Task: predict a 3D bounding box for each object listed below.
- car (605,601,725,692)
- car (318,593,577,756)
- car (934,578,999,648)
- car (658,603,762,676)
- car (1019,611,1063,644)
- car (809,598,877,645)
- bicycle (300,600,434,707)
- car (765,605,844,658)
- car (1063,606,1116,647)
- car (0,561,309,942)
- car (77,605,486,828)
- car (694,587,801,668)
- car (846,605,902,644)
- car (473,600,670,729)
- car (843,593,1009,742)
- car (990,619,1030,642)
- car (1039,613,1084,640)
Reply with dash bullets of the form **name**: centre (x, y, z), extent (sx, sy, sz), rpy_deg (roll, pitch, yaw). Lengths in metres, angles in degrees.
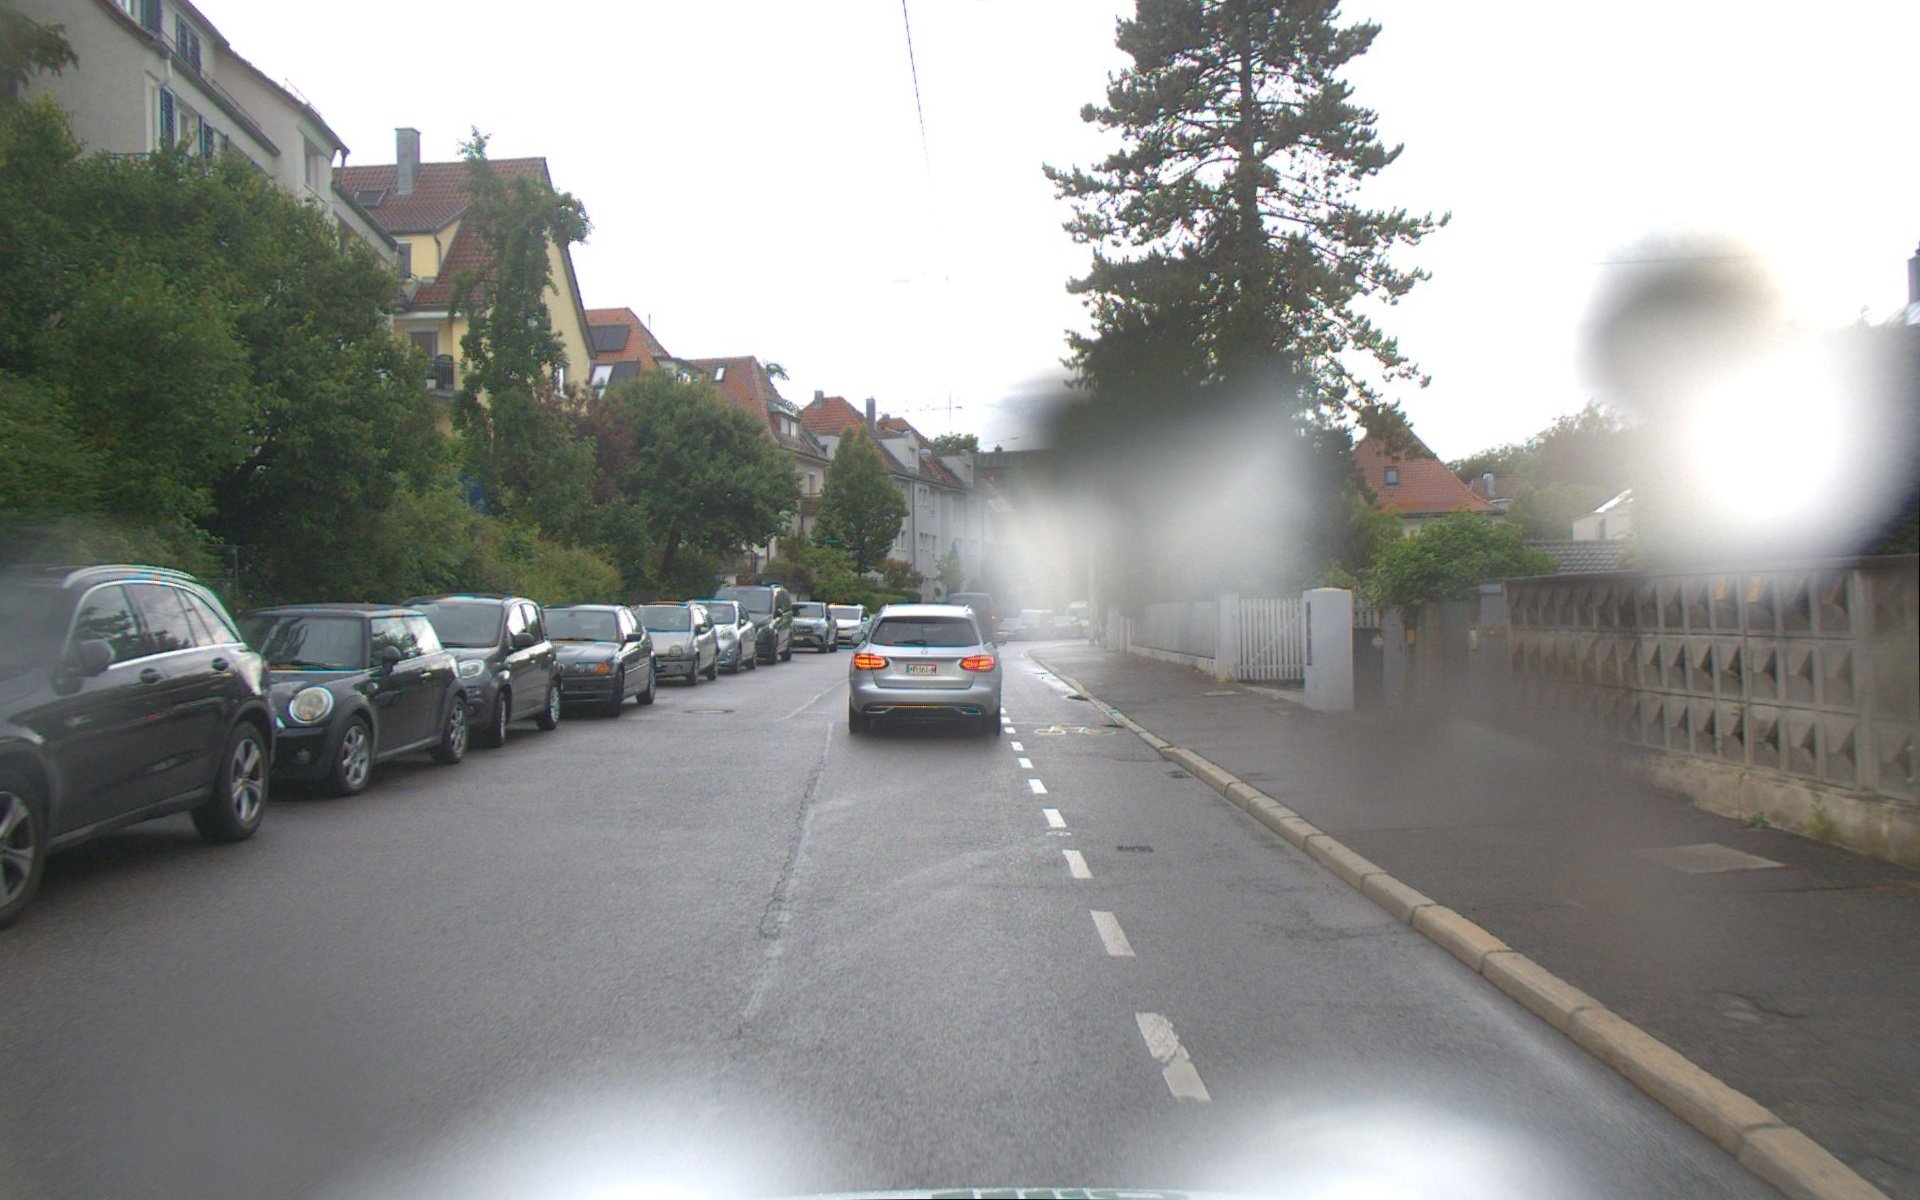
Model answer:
- **car**: centre (-5.395, 0.812, 30.619), extent (1.613, 1.472, 3.628), rpy_deg (0, 1, -1)
- **car**: centre (-5.386, 0.721, 17.867), extent (1.662, 1.568, 3.813), rpy_deg (0, 0, -1)
- **car**: centre (0.211, 0.388, 48.075), extent (1.805, 1.937, 4.000), rpy_deg (0, -1, 1)
- **car**: centre (-5.352, 0.827, 35.851), extent (1.659, 1.472, 3.813), rpy_deg (0, -1, 0)
- **car**: centre (5.444, 1.847, 110.988), extent (1.791, 2.092, 5.012), rpy_deg (0, -1, 17)
- **car**: centre (-4.533, 0.830, 64.978), extent (1.952, 1.732, 4.741), rpy_deg (2, 0, 4)
- **bicycle**: centre (-7.990, 0.689, 22.416), extent (0.983, 1.324, 2.291), rpy_deg (0, 1, 0)
- **car**: centre (-5.097, 1.000, 54.773), extent (1.952, 1.608, 4.762), rpy_deg (2, 0, 2)
- **car**: centre (9.773, 1.951, 124.414), extent (2.341, 2.820, 6.534), rpy_deg (0, 1, 20)
- **car**: centre (-5.110, 0.654, 8.499), extent (1.855, 1.651, 4.378), rpy_deg (0, 0, -1)
- **car**: centre (-5.381, 0.838, 13.697), extent (1.855, 1.472, 3.813), rpy_deg (0, 1, -1)
- **car**: centre (-5.330, 0.659, 42.187), extent (1.952, 1.911, 5.357), rpy_deg (1, 0, 1)
- **car**: centre (-3.788, 1.092, 73.497), extent (1.754, 1.608, 4.141), rpy_deg (2, 0, 7)
- **car**: centre (-5.186, 0.799, 22.655), extent (1.720, 1.472, 4.416), rpy_deg (0, 1, -1)
- **car**: centre (-0.310, 0.735, 19.854), extent (1.778, 1.584, 4.001), rpy_deg (1, 0, 2)
- **car**: centre (3.225, 1.922, 105.343), extent (1.608, 1.442, 4.616), rpy_deg (0, 0, 14)
- **car**: centre (7.238, 1.836, 117.083), extent (1.952, 1.718, 4.678), rpy_deg (0, 2, 20)
